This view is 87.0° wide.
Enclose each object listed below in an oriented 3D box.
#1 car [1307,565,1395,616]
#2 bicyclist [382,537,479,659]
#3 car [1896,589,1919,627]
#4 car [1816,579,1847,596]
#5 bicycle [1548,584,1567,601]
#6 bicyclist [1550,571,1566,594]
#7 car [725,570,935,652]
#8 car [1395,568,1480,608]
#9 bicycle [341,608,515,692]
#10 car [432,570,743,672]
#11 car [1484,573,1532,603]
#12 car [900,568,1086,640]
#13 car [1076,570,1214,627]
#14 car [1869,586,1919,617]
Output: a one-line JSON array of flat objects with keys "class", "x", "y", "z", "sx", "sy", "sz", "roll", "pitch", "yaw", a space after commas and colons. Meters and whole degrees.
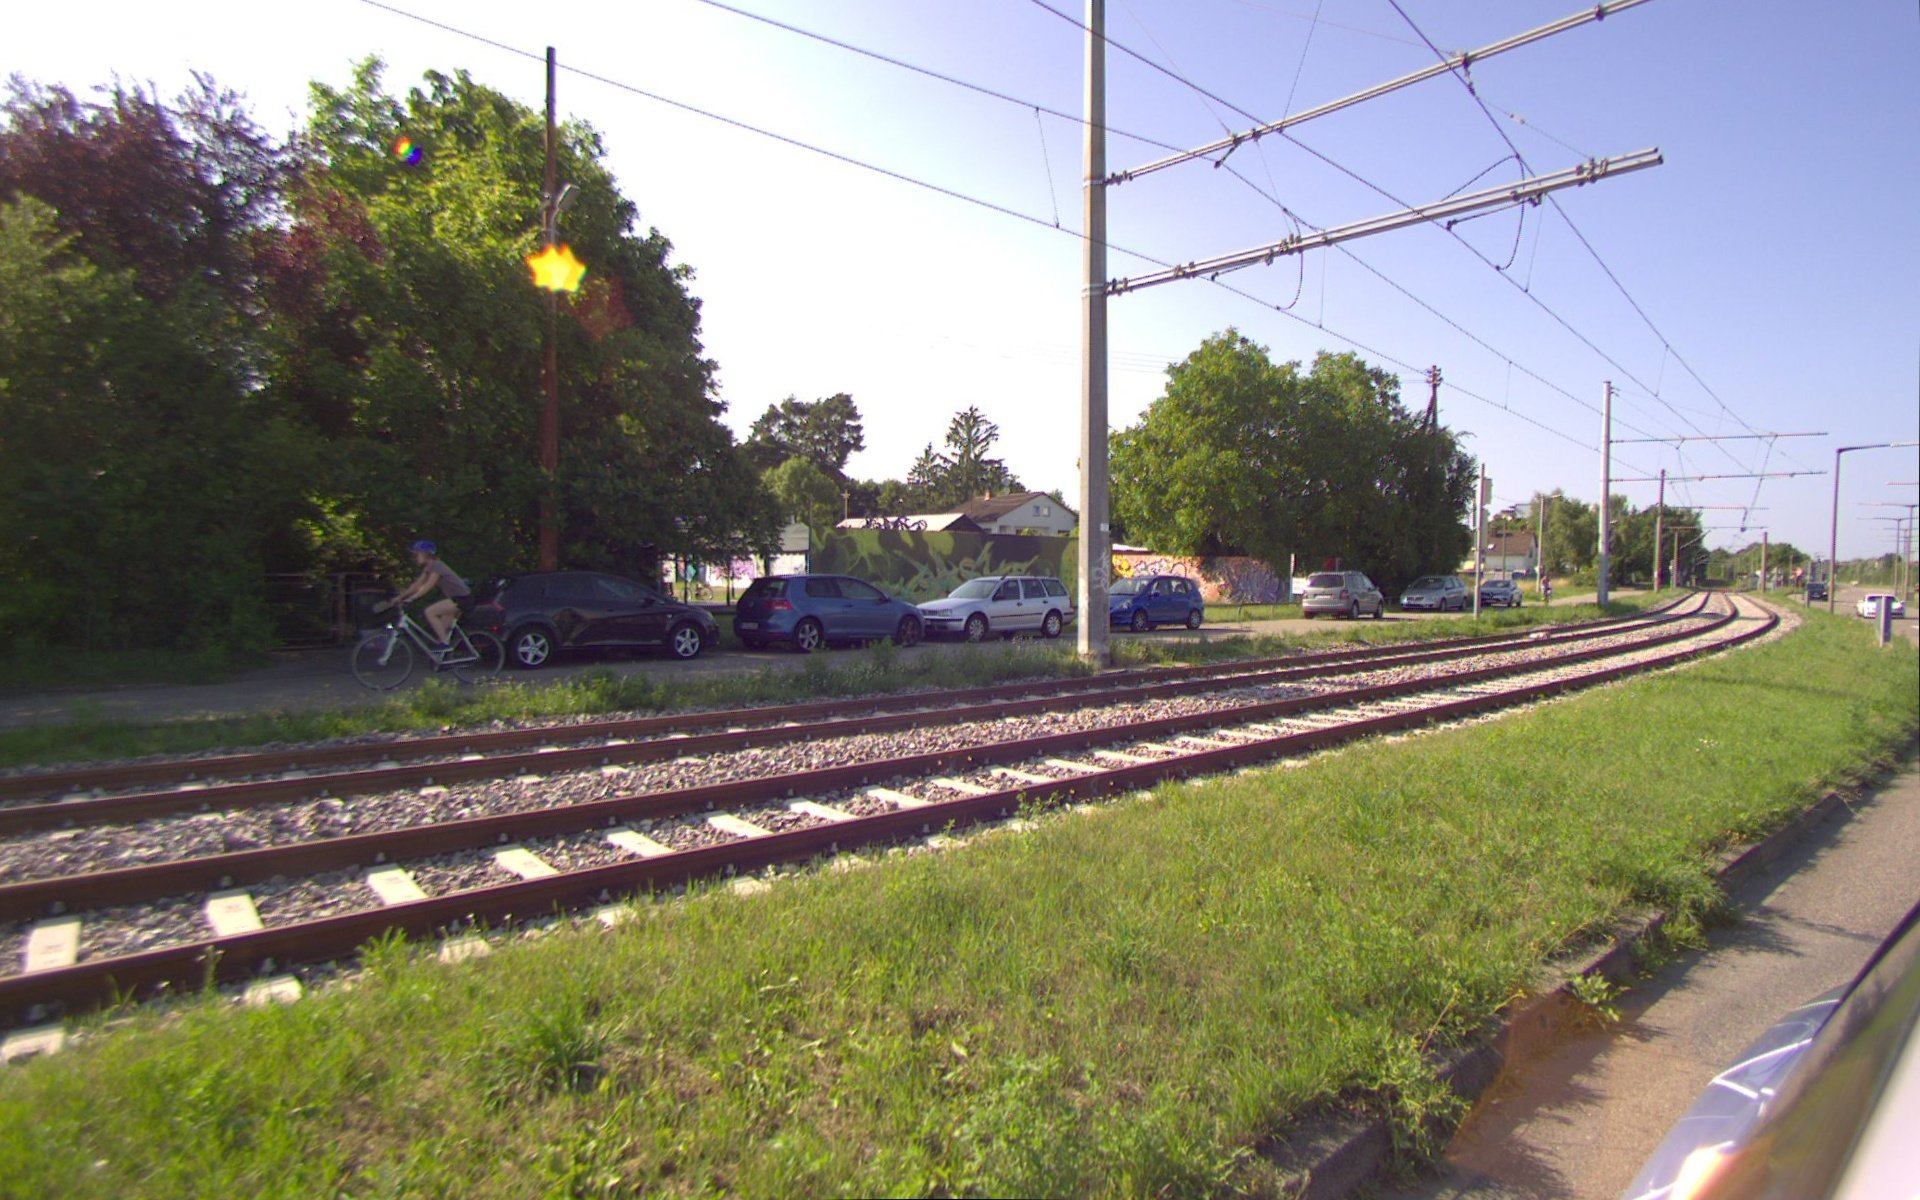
[{"class": "car", "x": 13.738, "y": -0.363, "z": 35.420, "sx": 1.521, "sy": 1.630, "sz": 4.419, "roll": 3, "pitch": 3, "yaw": 40}, {"class": "bicyclist", "x": -6.566, "y": -0.038, "z": 12.554, "sx": 0.946, "sy": 1.440, "sz": 0.630, "roll": -1, "pitch": 1, "yaw": -42}, {"class": "car", "x": 41.106, "y": 0.319, "z": 43.169, "sx": 1.602, "sy": 1.532, "sz": 4.204, "roll": 0, "pitch": 0, "yaw": 41}, {"class": "car", "x": 78.378, "y": -1.103, "z": 91.041, "sx": 1.828, "sy": 1.532, "sz": 4.097, "roll": 0, "pitch": 0, "yaw": 37}, {"class": "bicycle", "x": 32.814, "y": -0.408, "z": 55.572, "sx": 0.642, "sy": 0.921, "sz": 1.787, "roll": 1, "pitch": 1, "yaw": 40}, {"class": "bicyclist", "x": 32.807, "y": -0.943, "z": 55.554, "sx": 0.638, "sy": 1.248, "sz": 0.780, "roll": 1, "pitch": 1, "yaw": 41}, {"class": "car", "x": -2.429, "y": 0.141, "z": 19.715, "sx": 1.484, "sy": 1.418, "sz": 4.087, "roll": 2, "pitch": 2, "yaw": 42}, {"class": "car", "x": 21.129, "y": -0.547, "z": 44.673, "sx": 1.908, "sy": 1.610, "sz": 4.651, "roll": 3, "pitch": 3, "yaw": 45}, {"class": "bicycle", "x": -6.570, "y": 0.583, "z": 12.560, "sx": 1.812, "sy": 0.921, "sz": 0.643, "roll": -1, "pitch": 1, "yaw": -42}, {"class": "car", "x": -5.844, "y": 0.258, "z": 16.296, "sx": 1.623, "sy": 1.428, "sz": 4.448, "roll": 0, "pitch": 1, "yaw": 45}, {"class": "car", "x": 29.107, "y": -0.664, "z": 53.726, "sx": 1.531, "sy": 1.466, "sz": 4.074, "roll": 3, "pitch": 3, "yaw": 38}, {"class": "car", "x": 0.836, "y": 0.045, "z": 23.341, "sx": 4.315, "sy": 1.483, "sz": 1.712, "roll": 0, "pitch": 2, "yaw": -43}, {"class": "car", "x": 5.058, "y": -0.043, "z": 27.450, "sx": 3.843, "sy": 1.448, "sz": 1.681, "roll": 0, "pitch": 0, "yaw": -41}, {"class": "car", "x": 54.094, "y": 0.070, "z": 58.343, "sx": 1.957, "sy": 1.638, "sz": 4.254, "roll": 2, "pitch": 2, "yaw": 35}]
